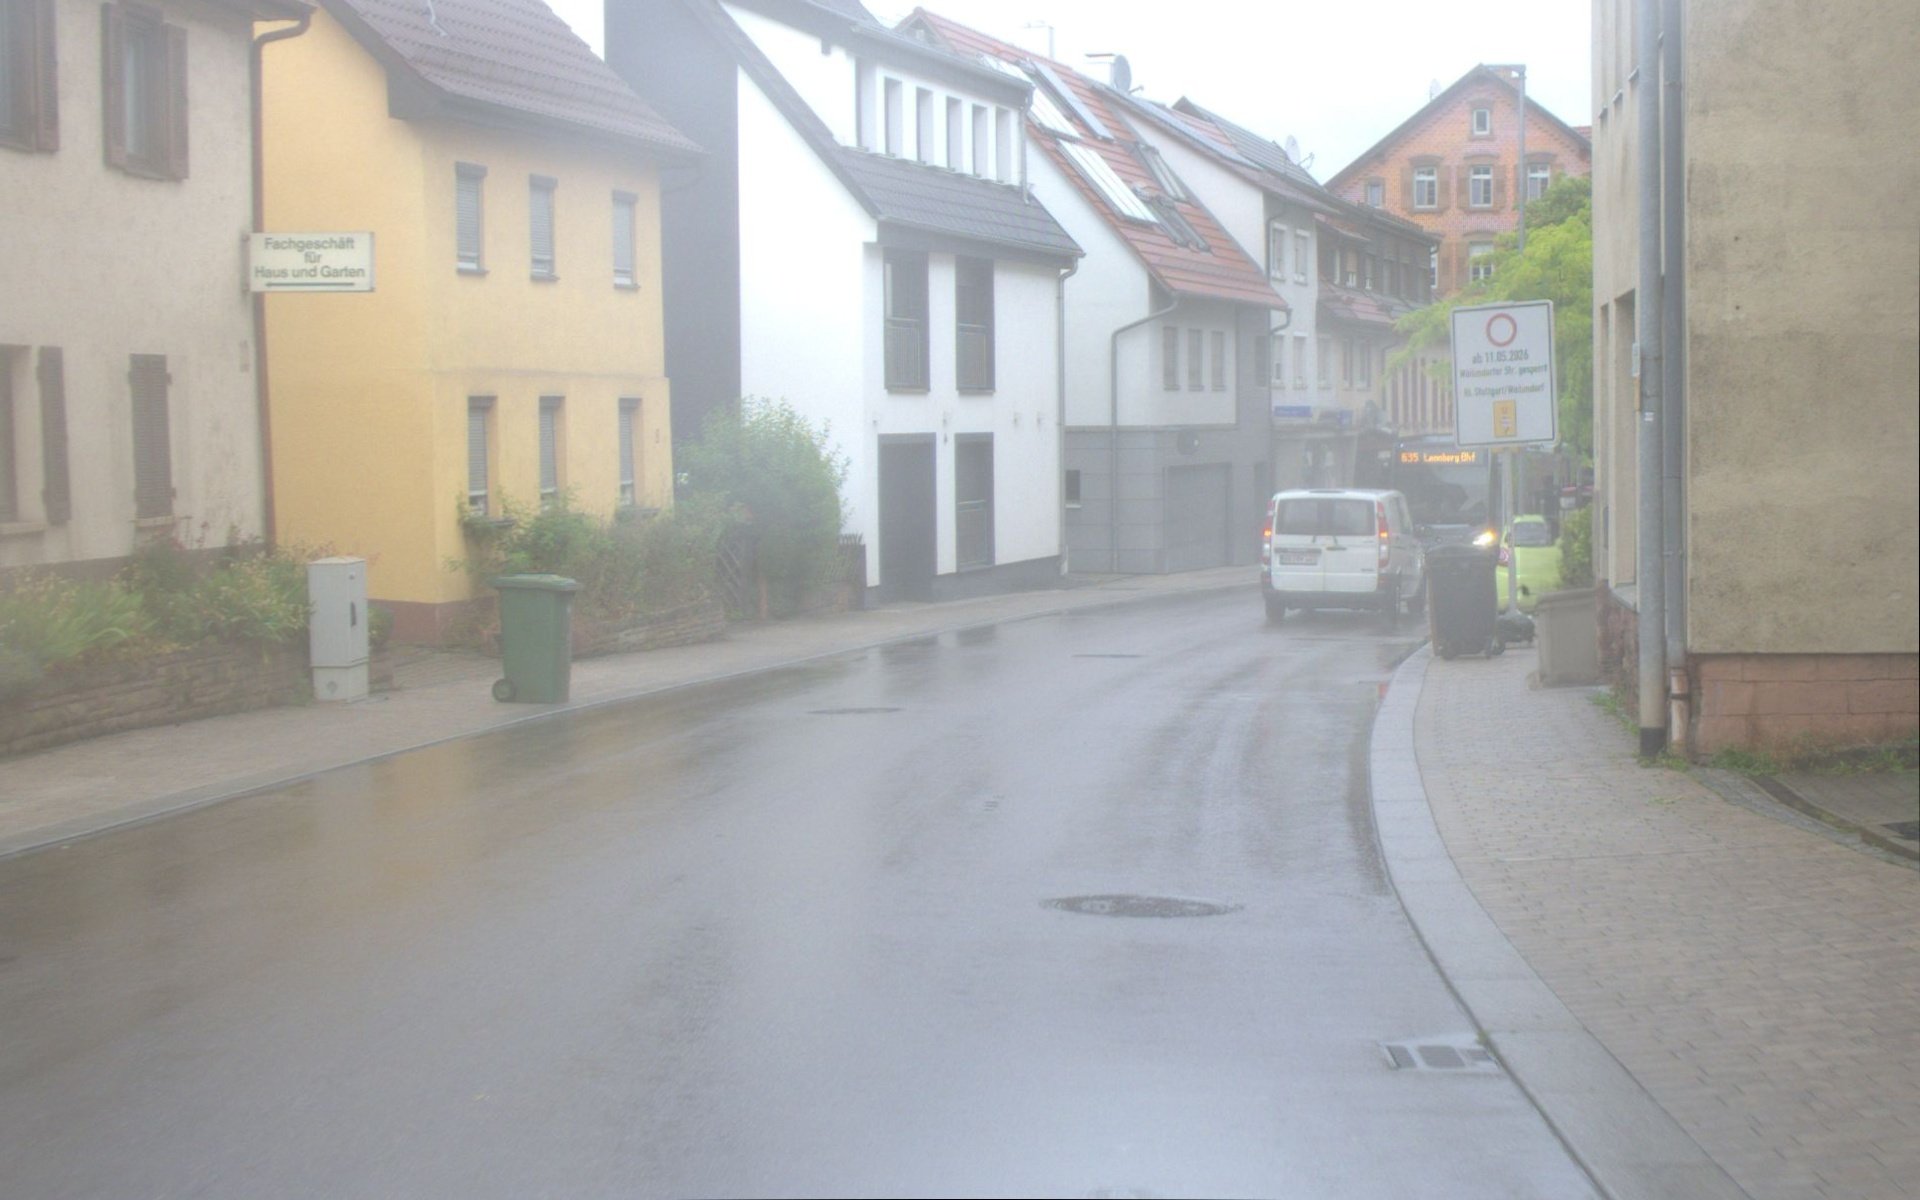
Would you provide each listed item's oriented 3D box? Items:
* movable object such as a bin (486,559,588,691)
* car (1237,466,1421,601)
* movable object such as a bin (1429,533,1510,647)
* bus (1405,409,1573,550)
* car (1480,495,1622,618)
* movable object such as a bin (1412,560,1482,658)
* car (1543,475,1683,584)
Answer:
[{"bbox_3d":[-3.559,0.205,28.966,0.660,1.052,0.763,2,2,7],"label":"movable object such as a bin"},{"bbox_3d":[5.361,-0.970,49.460,2.196,1.845,4.302,0,1,12],"label":"car"},{"bbox_3d":[5.374,-0.115,36.219,0.767,1.169,1.540,1,1,11],"label":"movable object such as a bin"},{"bbox_3d":[13.016,-3.031,83.967,2.742,3.119,9.228,1,4,17],"label":"bus"},{"bbox_3d":[7.766,-0.599,44.999,1.604,1.479,3.299,-2,2,13],"label":"car"},{"bbox_3d":[5.306,0.096,37.435,0.707,1.042,0.517,1,1,14],"label":"movable object such as a bin"},{"bbox_3d":[10.911,-1.176,57.253,1.713,1.756,3.996,1,1,19],"label":"car"}]
